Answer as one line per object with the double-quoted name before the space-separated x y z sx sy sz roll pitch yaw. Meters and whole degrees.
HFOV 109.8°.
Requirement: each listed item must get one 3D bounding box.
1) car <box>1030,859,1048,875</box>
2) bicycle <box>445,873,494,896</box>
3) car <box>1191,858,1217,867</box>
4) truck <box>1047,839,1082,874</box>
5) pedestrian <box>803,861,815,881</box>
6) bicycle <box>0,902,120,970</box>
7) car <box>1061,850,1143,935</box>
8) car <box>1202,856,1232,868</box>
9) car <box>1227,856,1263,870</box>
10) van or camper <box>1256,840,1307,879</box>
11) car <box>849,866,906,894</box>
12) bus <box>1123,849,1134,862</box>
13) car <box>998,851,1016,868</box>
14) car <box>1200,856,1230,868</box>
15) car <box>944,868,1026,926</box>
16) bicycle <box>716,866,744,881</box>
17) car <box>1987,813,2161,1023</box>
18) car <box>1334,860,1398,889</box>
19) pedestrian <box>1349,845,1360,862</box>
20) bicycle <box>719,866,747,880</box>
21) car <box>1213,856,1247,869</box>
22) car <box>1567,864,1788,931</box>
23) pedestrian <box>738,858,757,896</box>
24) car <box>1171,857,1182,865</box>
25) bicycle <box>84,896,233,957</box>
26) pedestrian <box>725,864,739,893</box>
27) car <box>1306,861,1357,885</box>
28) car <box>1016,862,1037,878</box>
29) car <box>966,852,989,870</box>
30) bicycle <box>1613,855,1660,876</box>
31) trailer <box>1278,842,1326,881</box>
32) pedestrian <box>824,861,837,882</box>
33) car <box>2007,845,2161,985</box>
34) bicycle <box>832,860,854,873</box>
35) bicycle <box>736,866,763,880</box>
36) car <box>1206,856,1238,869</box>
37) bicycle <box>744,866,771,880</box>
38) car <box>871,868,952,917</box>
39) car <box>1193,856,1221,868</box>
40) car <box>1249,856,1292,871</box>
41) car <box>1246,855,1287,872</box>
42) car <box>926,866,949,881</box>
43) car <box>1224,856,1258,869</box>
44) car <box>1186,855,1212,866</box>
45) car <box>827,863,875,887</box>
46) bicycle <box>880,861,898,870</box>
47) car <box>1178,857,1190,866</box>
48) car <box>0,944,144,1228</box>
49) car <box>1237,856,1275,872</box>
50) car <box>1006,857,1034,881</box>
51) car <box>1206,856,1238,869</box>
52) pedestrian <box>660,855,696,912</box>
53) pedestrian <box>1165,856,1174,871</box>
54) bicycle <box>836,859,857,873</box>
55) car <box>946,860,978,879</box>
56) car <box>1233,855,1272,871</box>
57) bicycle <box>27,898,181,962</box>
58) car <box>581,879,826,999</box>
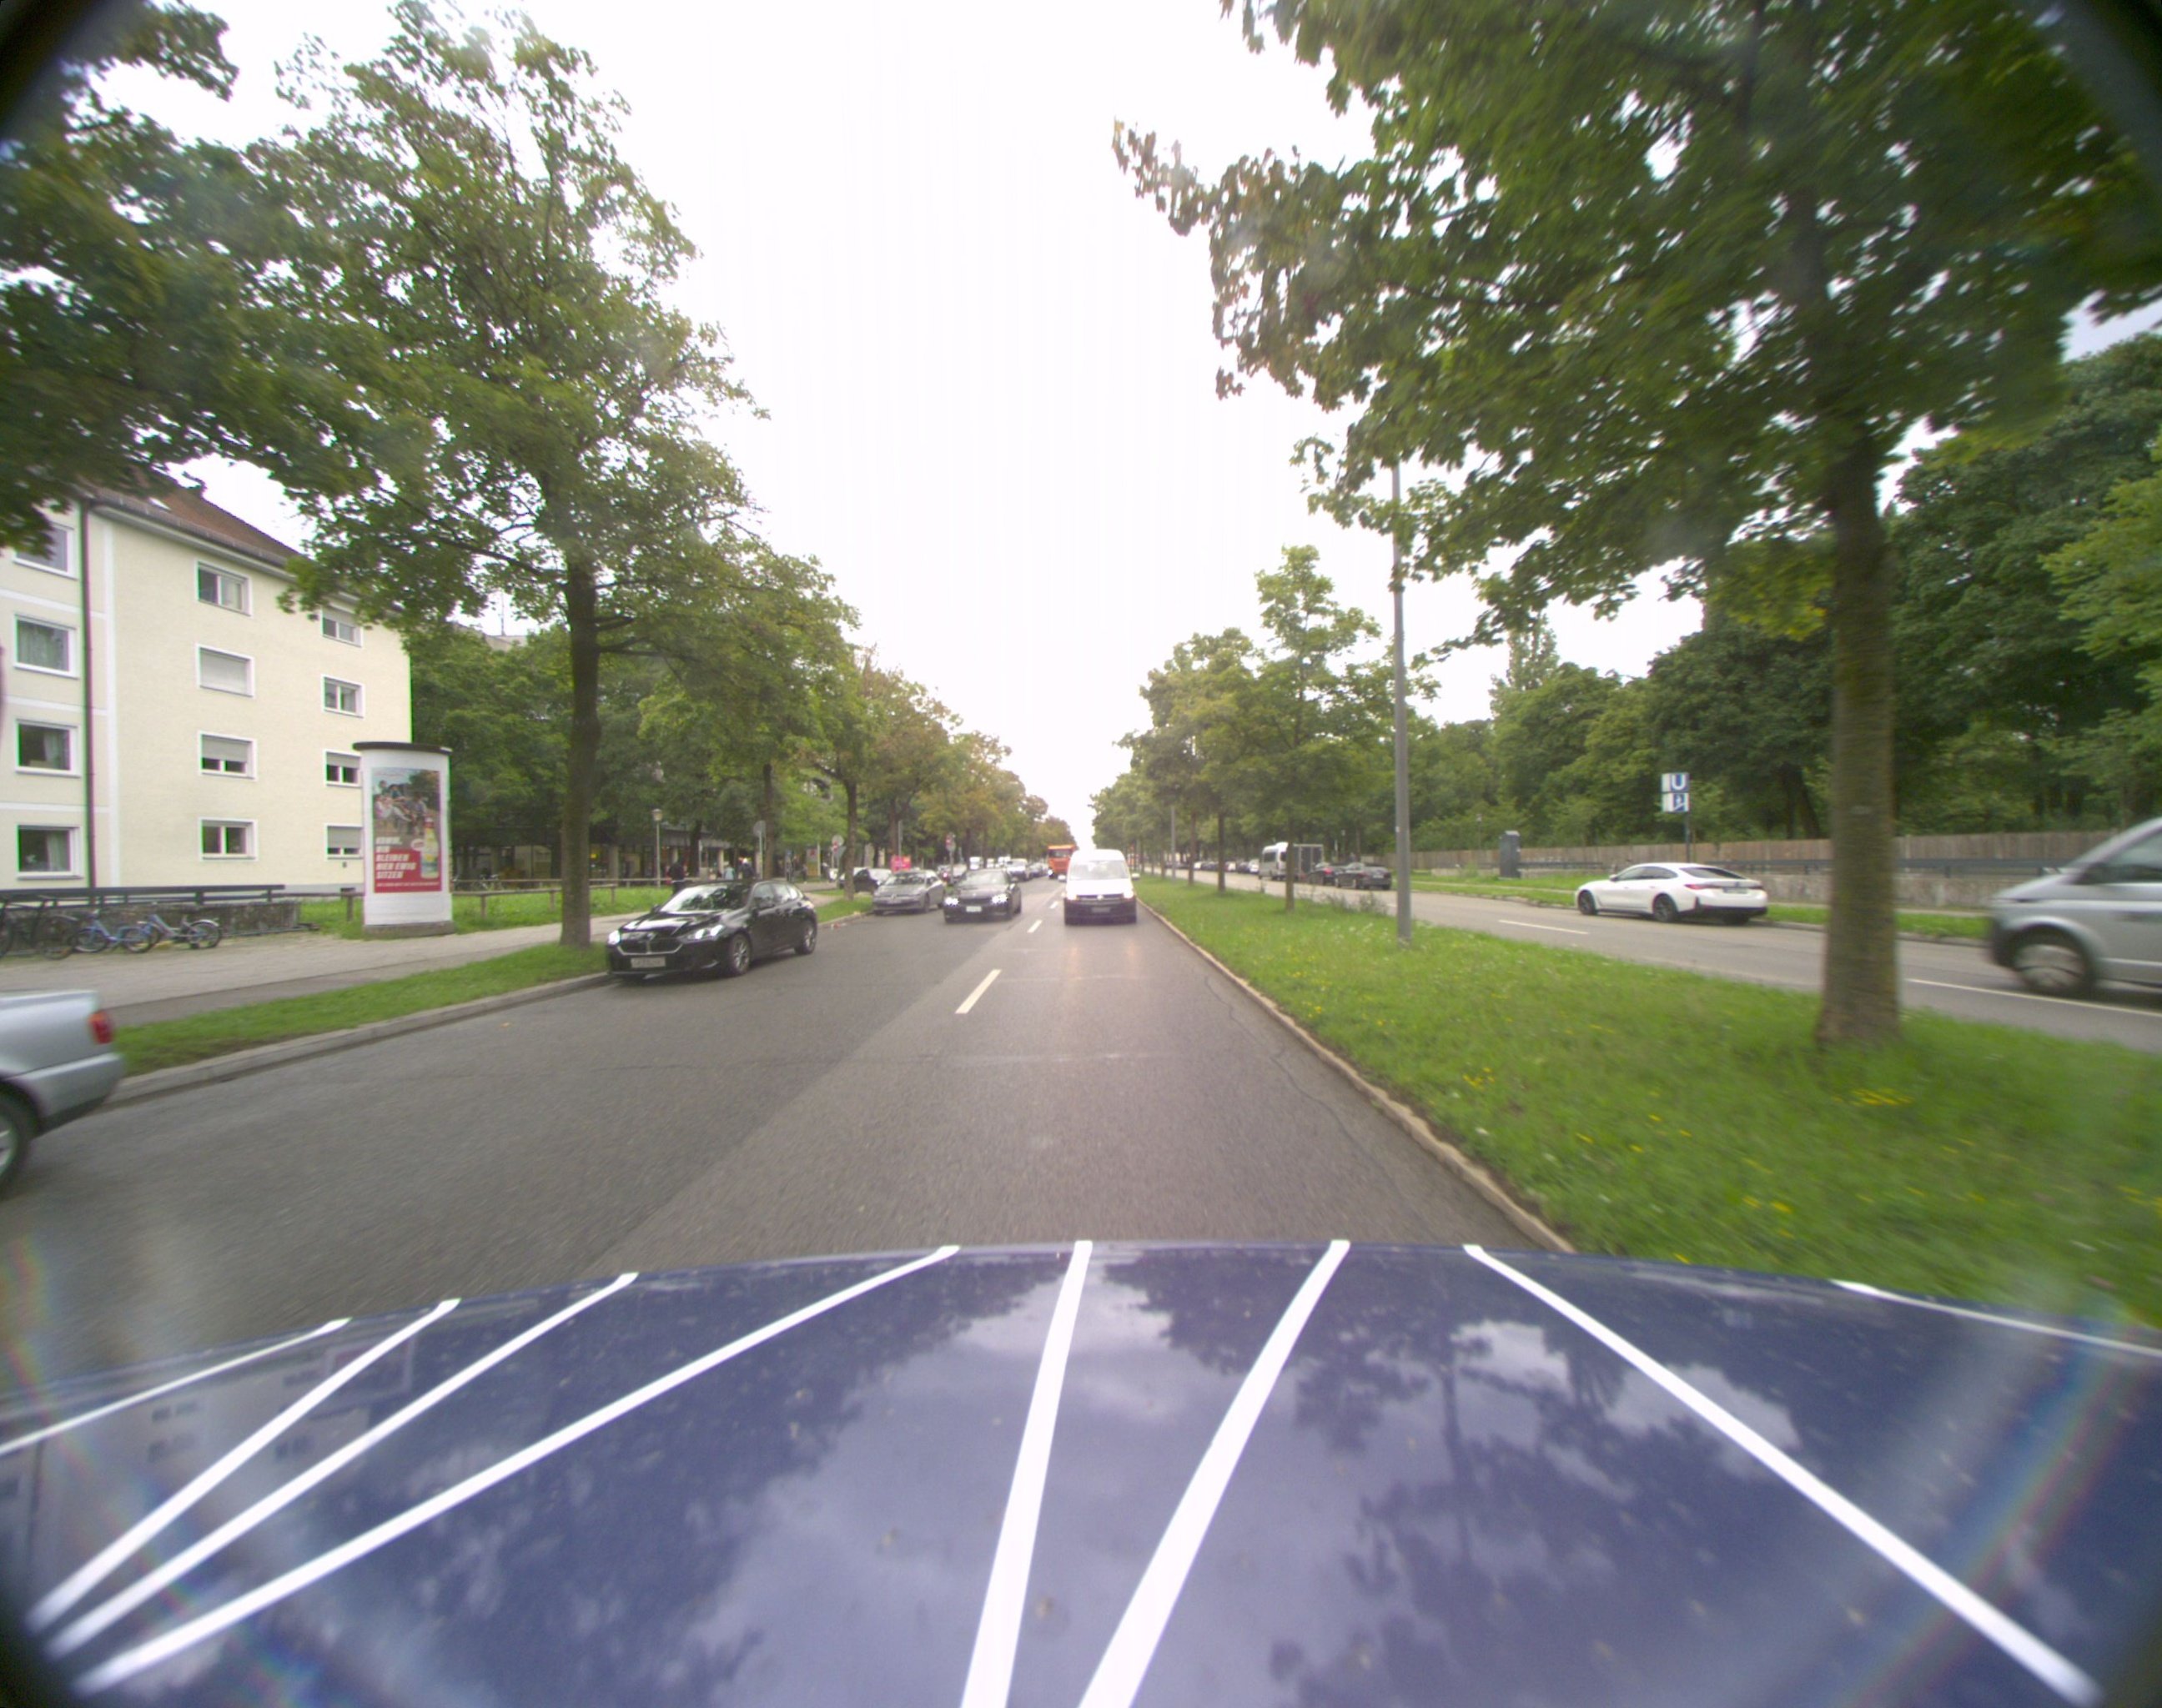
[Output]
"car" -4.804 1.453 87.145 1.686 1.631 4.465 -4 0 1
"bicycle" -26.672 1.307 33.144 1.696 0.965 0.455 -1 0 -3
"car" 19.674 1.332 121.612 4.006 1.357 1.588 -2 0 -29
"truck" -1.531 0.265 75.326 3.046 3.170 9.133 -2 0 1
"pedestrian" -21.841 1.348 60.978 0.658 1.533 0.633 2 1 42
"bicycle" -16.477 1.284 12.030 1.882 1.022 0.432 0 1 -2
"car" 0.466 0.870 19.182 1.750 1.807 4.667 -2 0 0
"car" 19.609 1.147 109.338 4.006 1.548 1.887 -3 -1 -31
"car" 20.348 1.097 94.134 4.005 1.454 1.888 -3 -1 -27
"van or camper" 15.373 0.438 58.743 2.040 2.821 7.547 0 0 1
"car" -11.139 1.394 41.849 1.726 1.371 4.352 -2 0 3
"bus" 12.642 0.343 203.829 2.676 3.279 11.927 1 0 2
"car" -11.881 0.831 122.262 1.978 2.641 6.006 -2 0 1
"car" 19.900 1.193 112.808 4.006 1.548 1.887 -3 -1 -31
"car" -2.689 1.165 22.187 1.763 1.405 4.462 -2 0 0
"bicycle" -28.645 1.592 61.965 2.080 1.113 0.455 -1 0 1
"car" 10.833 0.596 5.824 1.804 1.922 4.994 0 0 0
"car" 15.052 1.063 40.350 1.804 1.417 4.431 0 0 1
"pedestrian" 28.138 -0.055 78.178 0.770 1.757 0.874 0 0 -3
"bicycle" -28.916 1.595 63.072 2.080 1.113 0.455 -1 0 1
"car" 19.686 1.095 100.183 4.005 1.548 1.888 -3 -1 -27
"car" 14.919 1.009 19.469 1.861 1.464 4.875 0 0 0
"pedestrian" -15.497 1.049 35.341 0.642 1.720 0.599 -2 1 -34
"car" 18.981 1.309 151.302 1.889 1.435 4.170 -2 0 5
"bicycle" -16.306 1.273 13.451 1.883 1.022 0.432 0 1 -7
"pedestrian" -19.480 1.378 42.416 0.581 1.565 0.779 -2 1 -30
"car" 15.345 1.119 46.722 1.804 1.376 4.238 0 0 1
"car" -5.139 1.474 71.598 1.701 1.440 4.041 -3 0 -1
"car" -14.812 0.963 108.926 2.268 2.514 5.858 -1 0 1
"bicycle" 25.696 0.518 35.177 1.824 0.924 0.433 -2 0 0
"trailer" 15.243 0.529 52.689 2.022 2.575 4.659 0 0 1
"pedestrian" -19.249 1.359 58.440 0.657 1.584 0.755 1 0 20
"car" 14.507 0.769 8.787 1.818 1.772 4.818 0 0 2
"bicycle" -27.506 1.433 87.872 2.313 1.523 0.649 -1 0 1
"bicycle" -28.019 1.613 64.165 2.080 1.113 0.455 -1 0 1
"car" 19.736 1.175 106.407 4.006 1.548 1.887 -3 -1 -31
"bicycle" -28.267 1.653 66.395 2.080 1.113 0.455 -1 0 1
"car" -5.790 1.273 26.463 1.686 1.457 4.115 -2 0 2
"car" 19.647 1.245 118.352 4.006 1.548 1.887 -3 -1 -31
"car" 19.486 0.981 78.209 4.331 1.430 1.797 -2 0 -33
"car" 20.034 1.009 81.863 4.331 1.564 1.797 -2 0 -33
"car" -15.166 2.054 80.499 1.827 1.521 4.601 0 -1 -3
"car" 20.451 1.134 97.182 4.005 1.446 1.737 -3 -1 -27
"car" 19.916 1.164 128.229 4.006 1.718 1.777 -2 0 -33
"car" -16.079 1.435 53.326 1.826 1.624 4.199 0 0 3
"bicycle" -27.183 1.600 107.474 2.313 1.294 0.649 -1 0 2
"car" 18.851 1.392 139.418 1.889 1.435 4.170 -2 0 5
"car" -6.290 1.238 2.312 1.640 1.377 4.243 -2 0 -2
"car" 19.565 1.105 84.853 4.006 1.477 1.797 -3 -1 -33
"car" -5.162 1.217 64.813 1.886 1.916 4.933 -2 0 1
"car" 19.086 1.111 102.760 4.006 1.548 1.887 -3 -1 -31
"pedestrian" -12.574 0.909 23.711 0.641 1.739 0.849 1 0 1
"pedestrian" 10.164 1.107 87.450 0.872 1.689 0.771 0 1 21
"bicycle" -27.738 1.389 89.883 2.313 1.613 0.649 -1 0 1
"car" -9.542 1.210 61.229 1.732 1.424 4.691 -2 0 1
"car" 19.815 1.066 87.779 4.005 1.577 1.798 -3 -1 -28
"bicycle" -16.548 1.283 12.896 1.883 1.022 0.432 0 1 -5
"car" -5.879 1.229 12.496 1.755 1.457 4.177 -2 0 2
